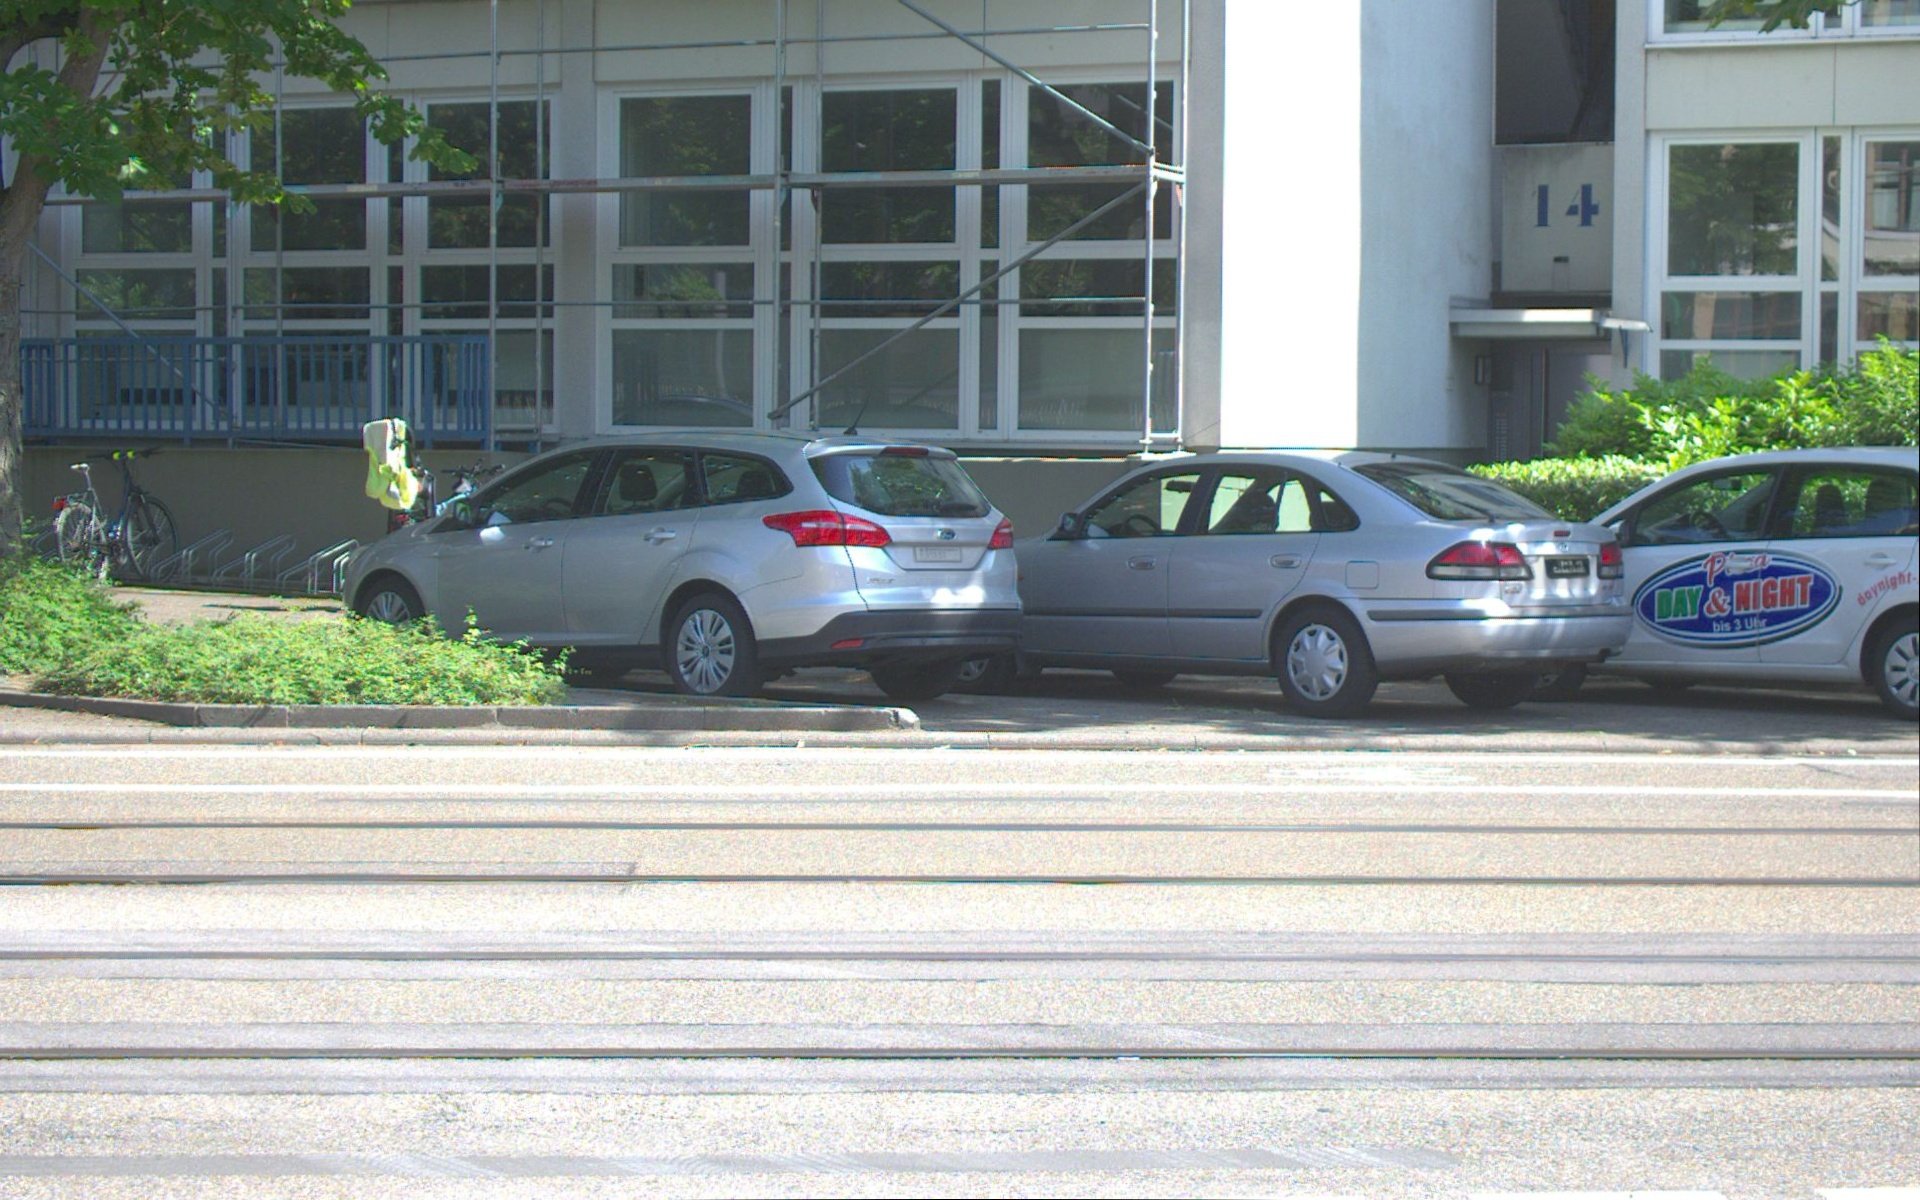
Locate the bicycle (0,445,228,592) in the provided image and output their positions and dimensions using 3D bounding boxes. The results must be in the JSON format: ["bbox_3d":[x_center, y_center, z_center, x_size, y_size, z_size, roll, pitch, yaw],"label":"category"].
[{"bbox_3d":[-6.537,-0.658,26.671,0.741,1.082,2.202,1,3,15],"label":"bicycle"}]

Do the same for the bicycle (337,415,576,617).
[{"bbox_3d":[-3.763,-0.654,25.872,0.662,1.448,2.087,2,3,28],"label":"bicycle"}]

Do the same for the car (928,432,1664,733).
[{"bbox_3d":[1.799,-0.174,19.297,3.943,1.481,1.609,3,4,44],"label":"car"}]

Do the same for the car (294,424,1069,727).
[{"bbox_3d":[-1.666,-0.224,19.367,4.432,1.481,1.780,3,4,42],"label":"car"}]

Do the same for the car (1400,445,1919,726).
[{"bbox_3d":[4.600,-0.133,19.652,3.942,1.481,1.609,2,3,43],"label":"car"}]
